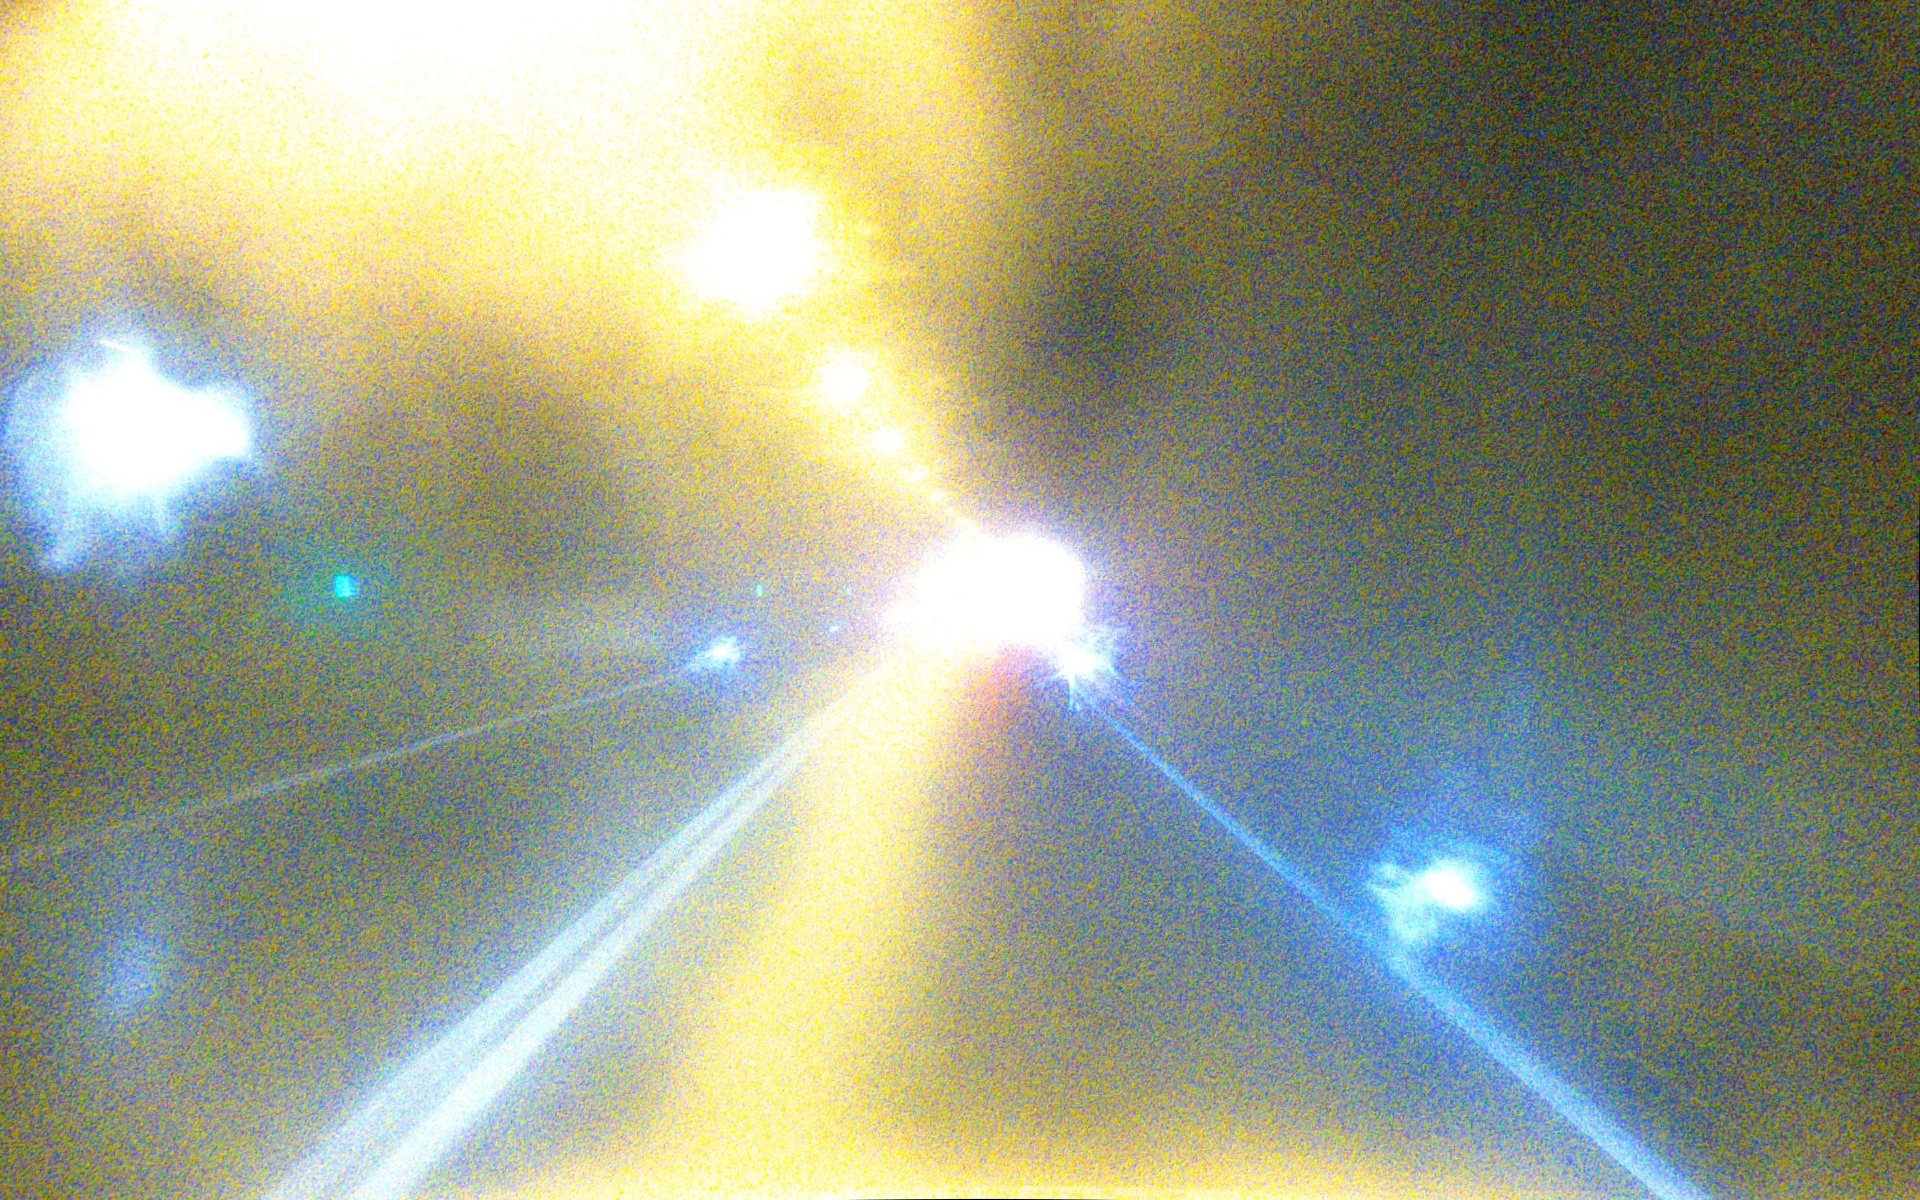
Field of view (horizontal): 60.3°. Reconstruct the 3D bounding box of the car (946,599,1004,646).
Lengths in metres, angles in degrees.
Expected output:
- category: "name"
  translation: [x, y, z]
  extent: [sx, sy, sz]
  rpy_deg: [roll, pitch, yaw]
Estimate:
- category: "car"
  translation: [0.607, 0.823, 62.316]
  extent: [2.046, 1.691, 4.001]
  rpy_deg: [1, 0, 2]
